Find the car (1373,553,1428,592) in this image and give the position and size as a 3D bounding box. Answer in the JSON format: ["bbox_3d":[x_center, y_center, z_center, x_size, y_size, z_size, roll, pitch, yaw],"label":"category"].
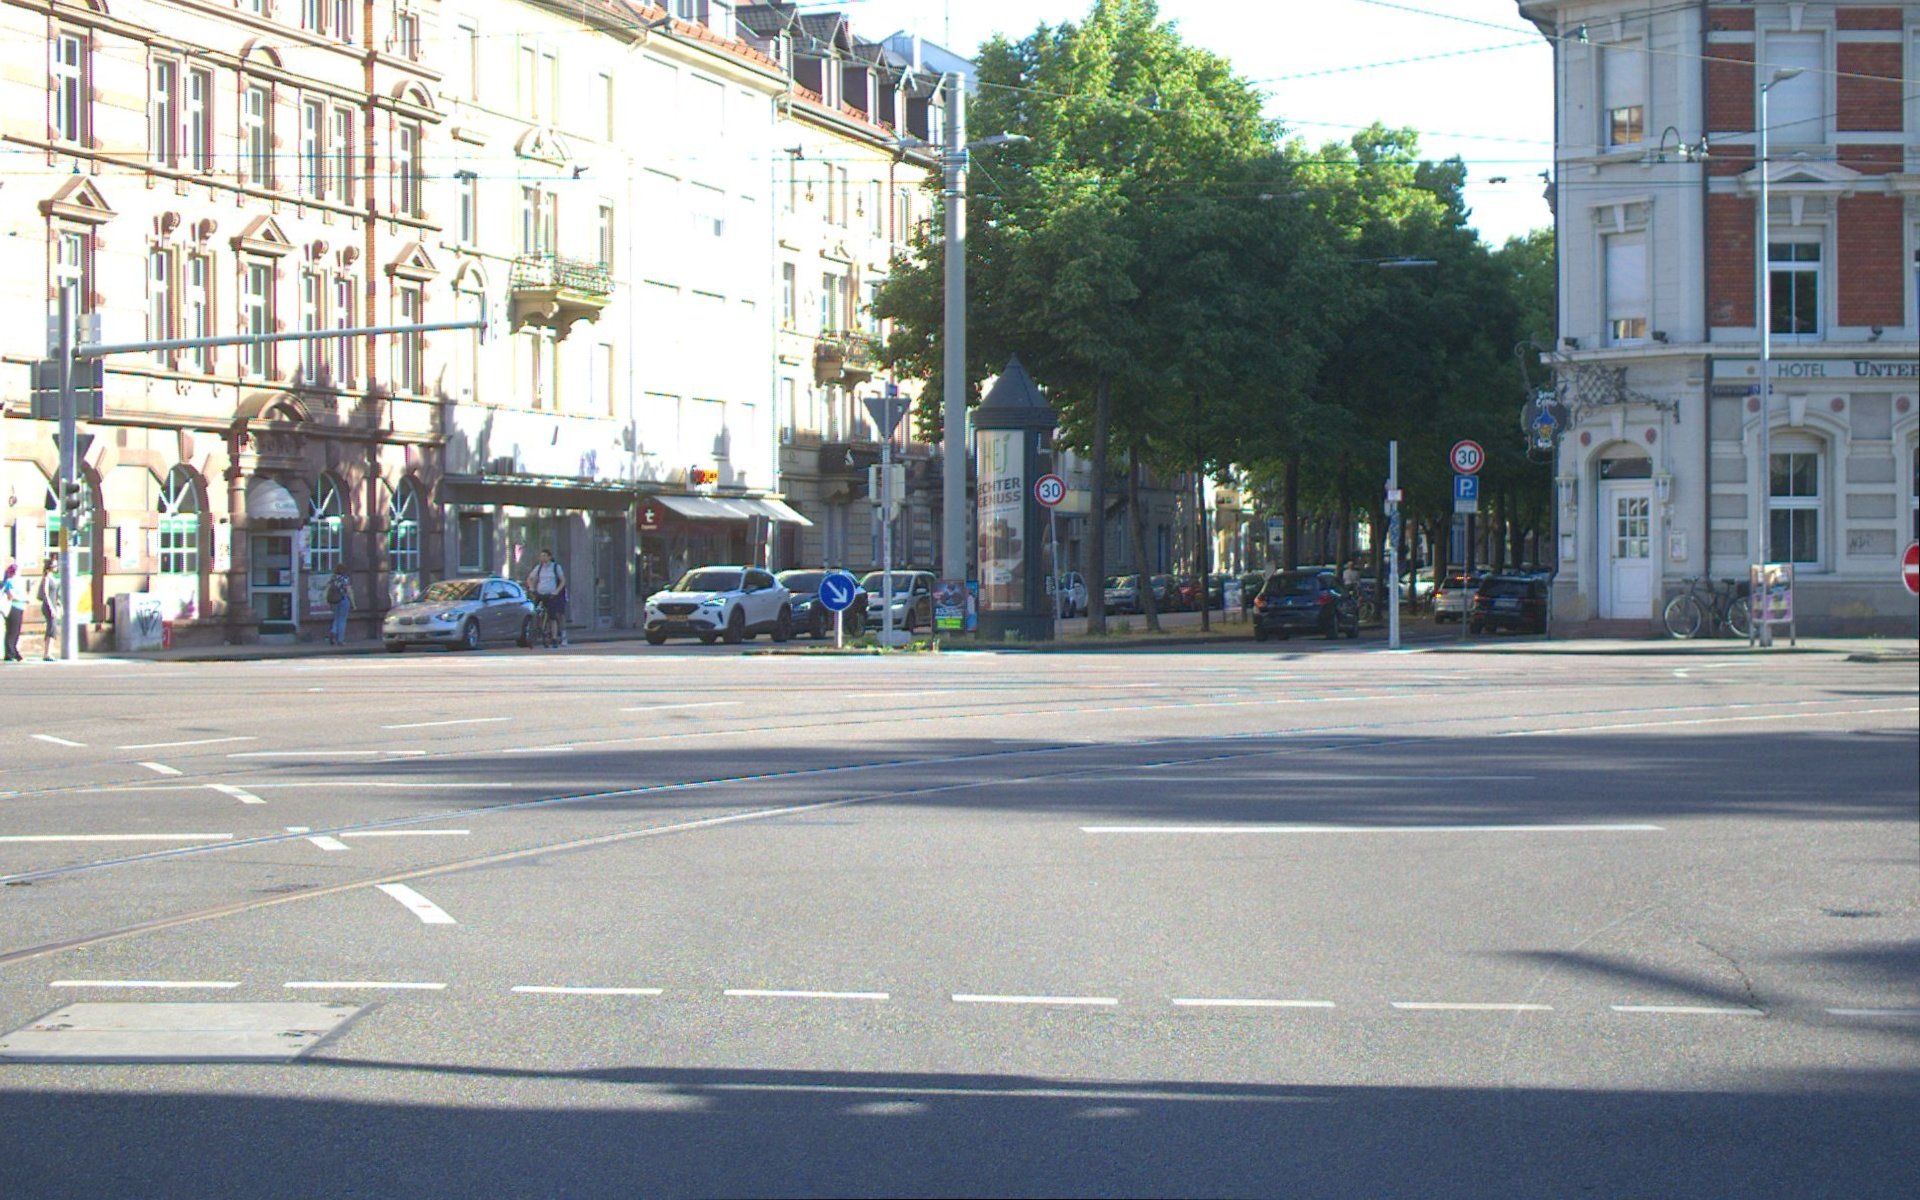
[{"bbox_3d":[17.269,-1.076,134.667,1.560,1.508,3.653,1,1,17],"label":"car"}]

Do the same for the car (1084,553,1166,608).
[{"bbox_3d":[5.904,-0.690,122.476,1.995,1.897,3.997,1,1,17],"label":"car"}]

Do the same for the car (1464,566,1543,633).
[{"bbox_3d":[13.067,-0.030,82.592,1.692,1.559,3.839,1,1,11],"label":"car"}]

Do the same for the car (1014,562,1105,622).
[{"bbox_3d":[3.281,-0.284,112.704,1.995,1.897,3.997,1,1,17],"label":"car"}]

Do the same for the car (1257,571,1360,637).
[{"bbox_3d":[7.537,0.060,74.106,1.755,1.357,3.853,1,1,13],"label":"car"}]

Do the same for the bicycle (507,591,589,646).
[{"bbox_3d":[-7.816,0.335,65.288,0.763,1.004,2.395,1,1,13],"label":"bicycle"}]

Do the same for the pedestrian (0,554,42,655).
[{"bbox_3d":[-15.334,0.063,55.906,0.633,1.628,0.701,1,0,-4],"label":"pedestrian"}]

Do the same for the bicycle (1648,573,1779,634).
[{"bbox_3d":[12.506,0.056,57.090,2.049,0.994,0.630,0,0,3],"label":"bicycle"}]

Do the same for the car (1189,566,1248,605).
[{"bbox_3d":[10.235,-0.569,136.157,1.560,1.508,3.653,1,1,17],"label":"car"}]

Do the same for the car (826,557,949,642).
[{"bbox_3d":[-1.642,-0.021,79.716,1.994,1.897,3.998,1,1,11],"label":"car"}]

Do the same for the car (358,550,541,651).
[{"bbox_3d":[-9.919,-0.008,67.120,1.995,1.897,3.997,1,1,17],"label":"car"}]

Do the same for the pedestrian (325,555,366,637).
[{"bbox_3d":[-12.285,-0.088,68.724,0.544,1.626,0.706,1,0,13],"label":"pedestrian"}]

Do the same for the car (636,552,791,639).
[{"bbox_3d":[-4.787,-0.104,67.309,1.994,1.612,3.998,1,1,11],"label":"car"}]

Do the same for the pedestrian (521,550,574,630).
[{"bbox_3d":[-7.830,-0.192,65.208,0.821,1.507,0.598,1,0,15],"label":"pedestrian"}]

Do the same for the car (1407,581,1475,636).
[{"bbox_3d":[13.992,0.233,99.883,1.772,1.525,3.998,1,1,10],"label":"car"}]

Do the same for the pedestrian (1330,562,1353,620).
[{"bbox_3d":[11.888,-0.293,107.008,0.640,1.790,0.490,1,0,12],"label":"pedestrian"}]

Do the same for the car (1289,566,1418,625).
[{"bbox_3d":[13.161,-0.170,114.974,3.990,1.897,1.998,1,0,16],"label":"car"}]

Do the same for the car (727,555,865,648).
[{"bbox_3d":[-3.477,0.015,73.649,1.994,1.897,3.998,1,1,11],"label":"car"}]

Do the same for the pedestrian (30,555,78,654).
[{"bbox_3d":[-15.086,0.075,57.228,0.633,1.628,0.701,1,0,-4],"label":"pedestrian"}]

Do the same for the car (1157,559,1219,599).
[{"bbox_3d":[8.772,-0.797,132.067,1.560,1.508,3.653,1,1,17],"label":"car"}]

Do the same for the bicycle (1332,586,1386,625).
[{"bbox_3d":[11.505,0.163,99.071,0.626,1.081,1.703,1,1,-31],"label":"bicycle"}]
